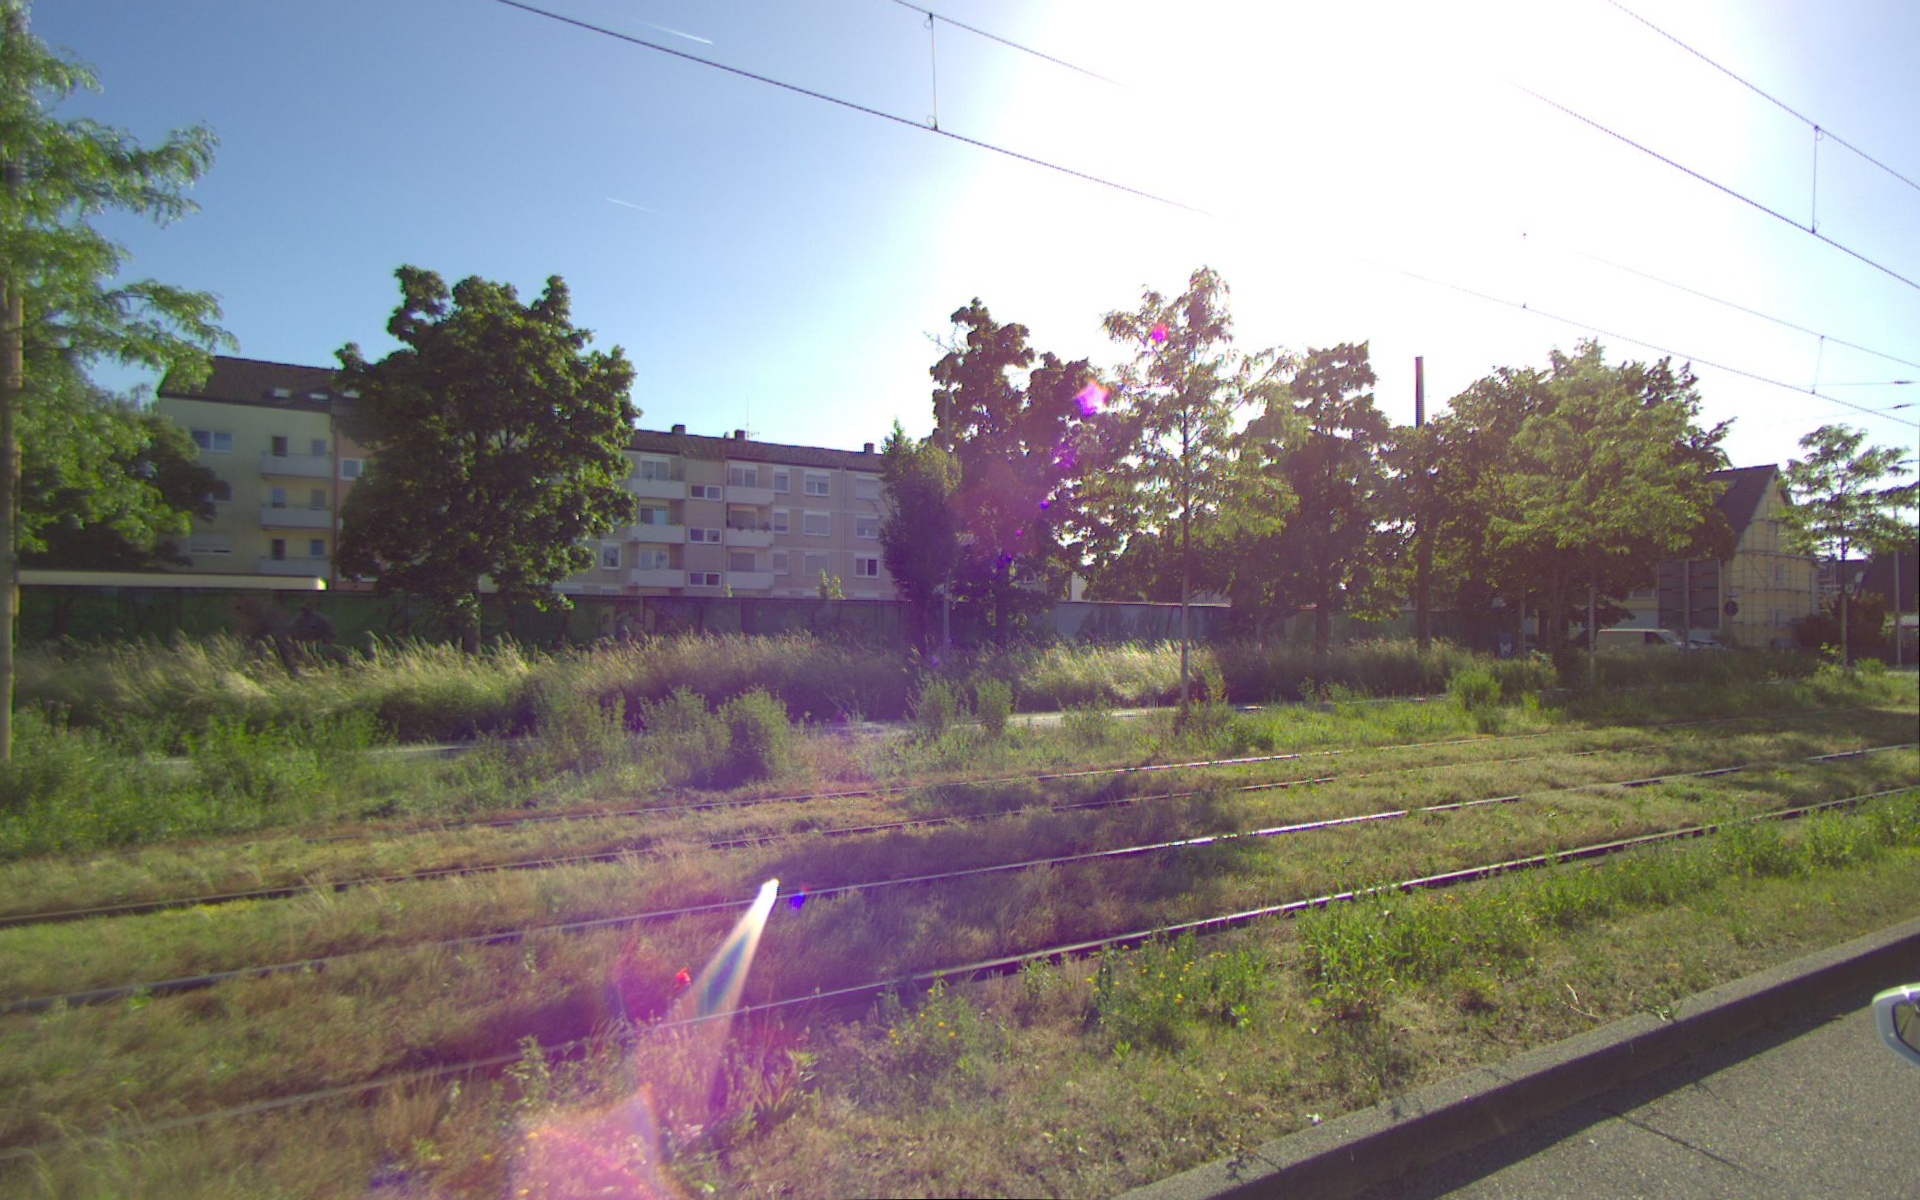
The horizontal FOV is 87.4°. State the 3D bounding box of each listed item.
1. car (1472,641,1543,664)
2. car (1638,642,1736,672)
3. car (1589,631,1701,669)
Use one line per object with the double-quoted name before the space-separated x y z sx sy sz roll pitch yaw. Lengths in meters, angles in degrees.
"car" 34.509 3.281 63.425 1.542 1.364 3.712 2 -2 -30
"car" 39.643 3.094 54.856 1.832 1.422 3.968 4 -3 -30
"car" 36.825 2.657 54.137 1.881 1.940 4.666 2 -2 -29
